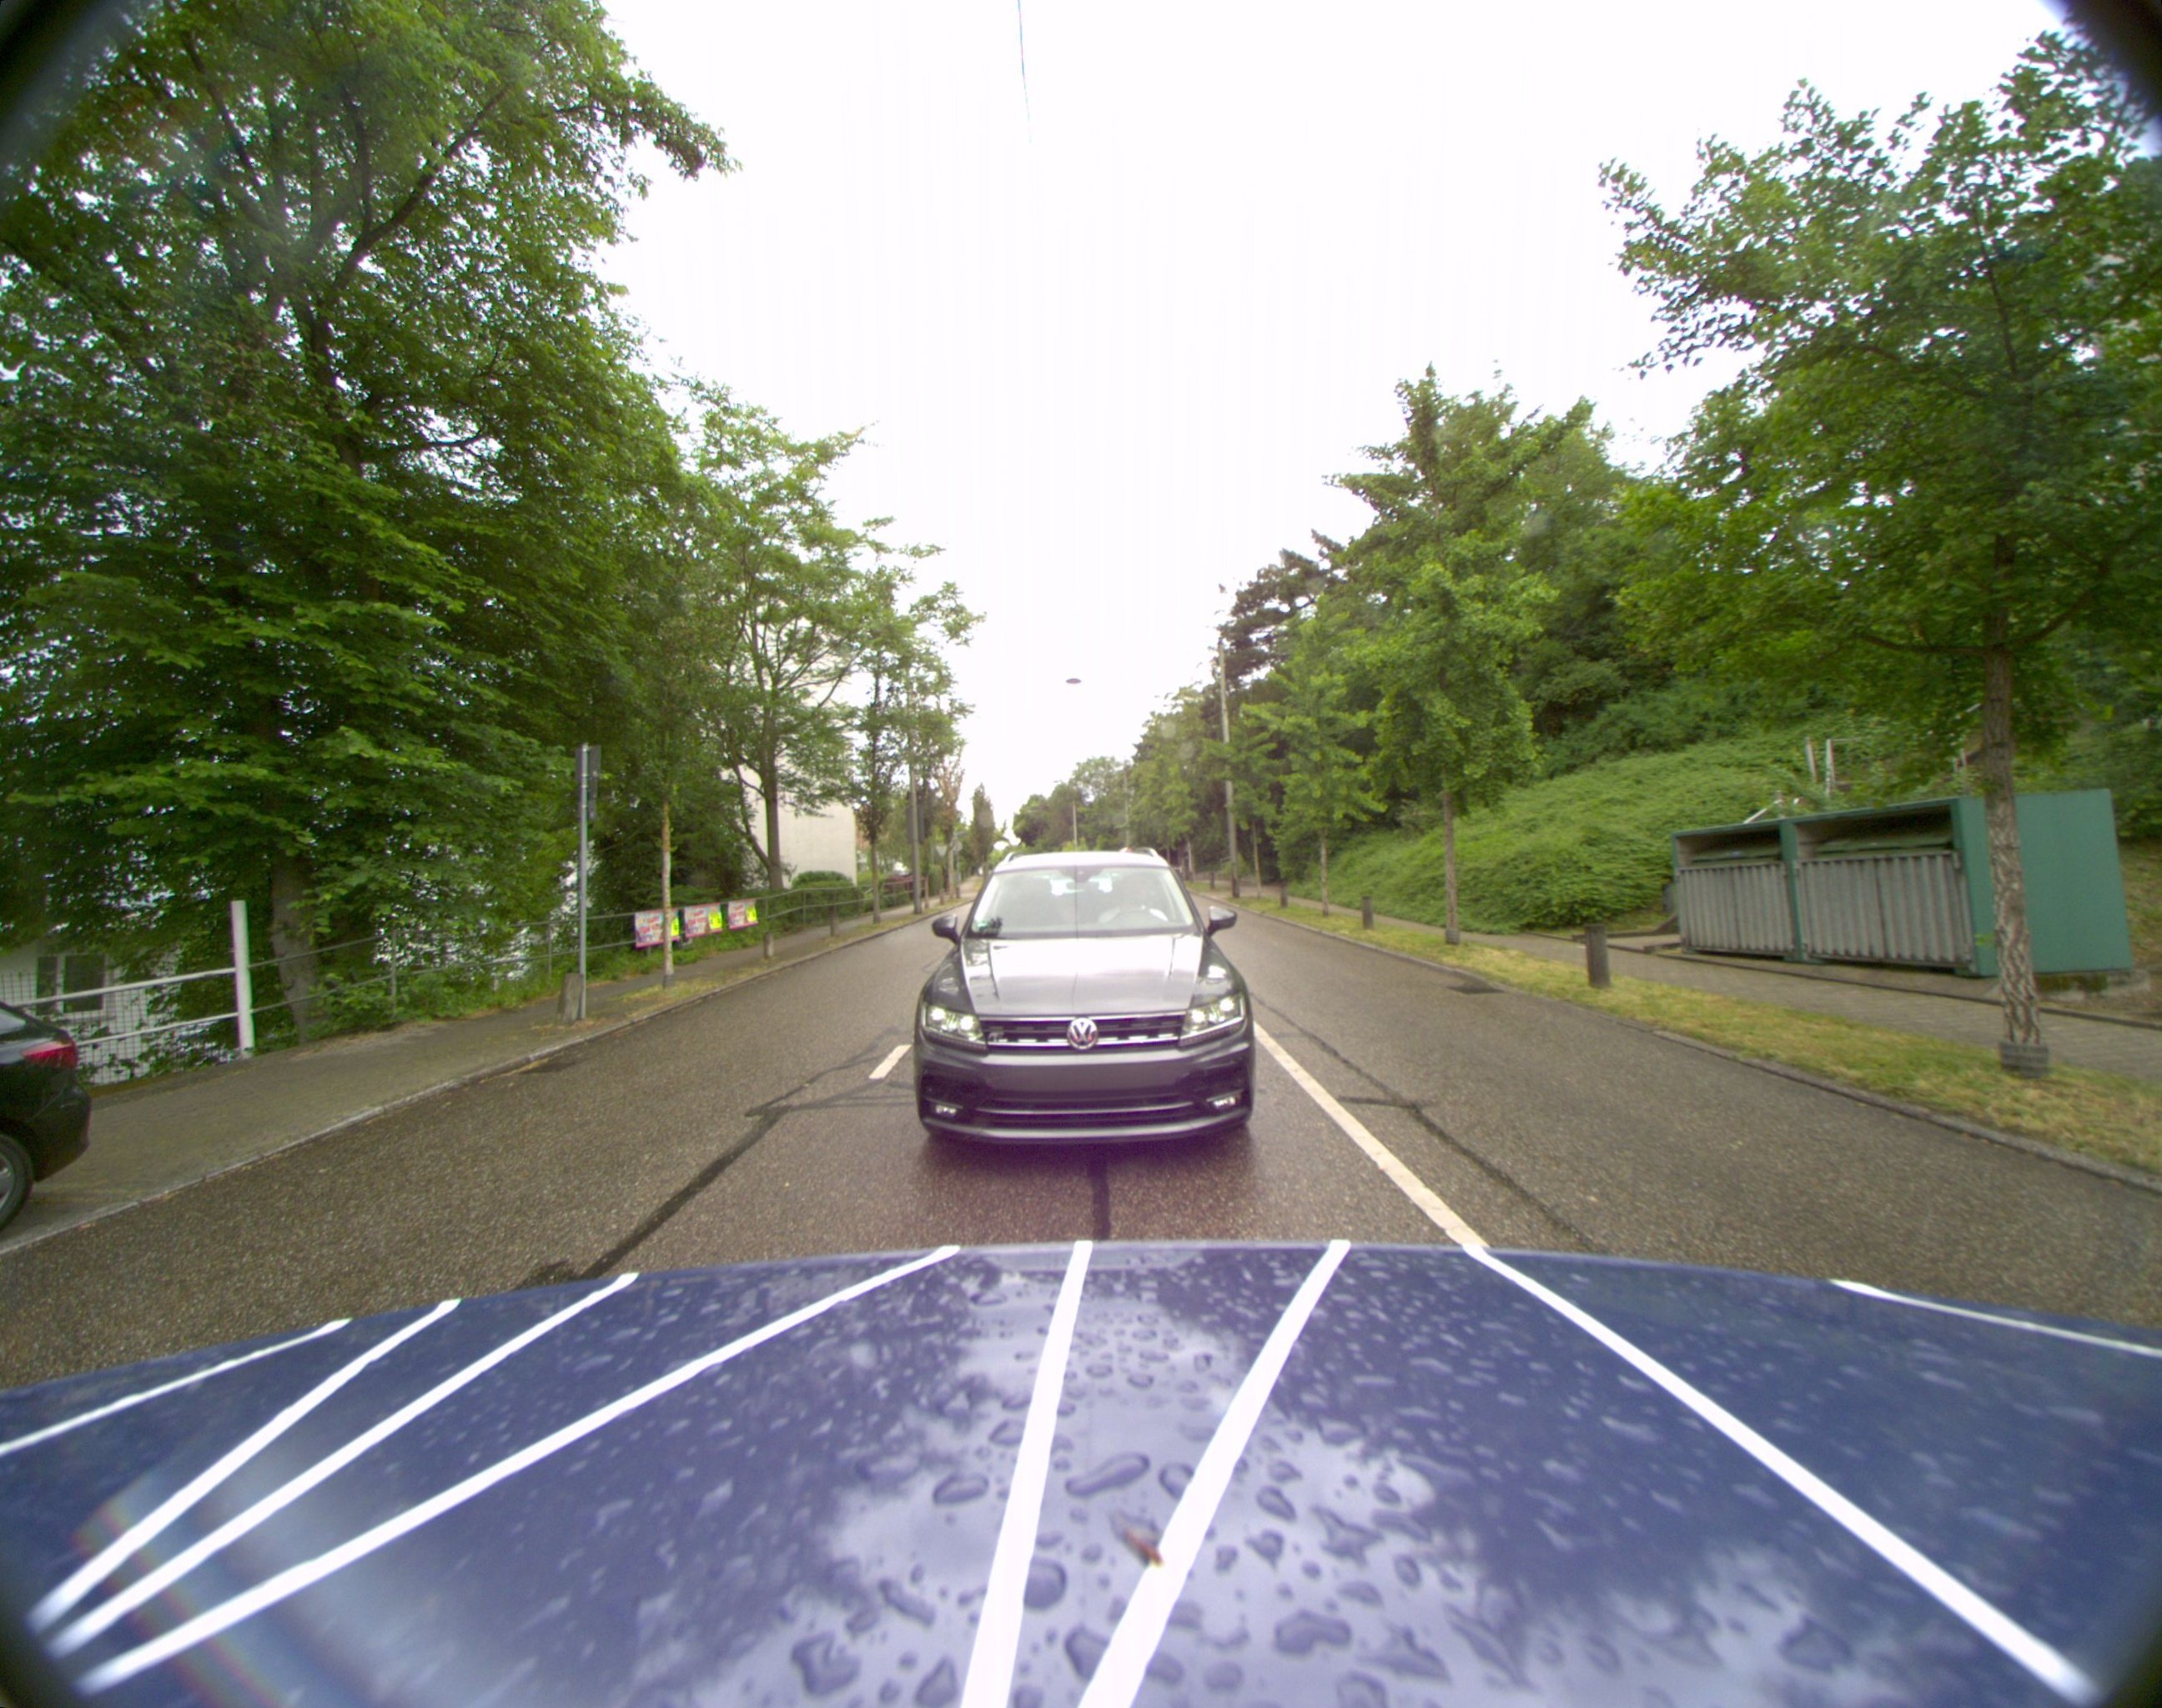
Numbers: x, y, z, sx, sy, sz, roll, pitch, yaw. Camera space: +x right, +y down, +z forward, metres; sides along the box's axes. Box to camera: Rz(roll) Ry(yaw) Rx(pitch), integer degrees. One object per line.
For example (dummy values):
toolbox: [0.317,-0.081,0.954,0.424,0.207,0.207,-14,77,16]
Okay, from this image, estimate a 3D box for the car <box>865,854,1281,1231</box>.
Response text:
car: [-0.006,0.874,5.638,1.834,1.608,4.292,-3,1,1]

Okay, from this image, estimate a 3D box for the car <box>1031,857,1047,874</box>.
car: [-5.496,1.468,98.970,1.835,2.003,4.055,-3,1,-5]

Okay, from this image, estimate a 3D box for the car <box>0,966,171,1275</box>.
car: [-6.335,1.388,2.230,1.999,1.426,4.442,-1,0,-1]

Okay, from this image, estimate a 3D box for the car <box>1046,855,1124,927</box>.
car: [0.130,0.898,20.682,1.834,1.608,4.350,-3,1,1]

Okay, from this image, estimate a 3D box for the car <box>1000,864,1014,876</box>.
car: [-11.429,2.509,117.343,1.892,1.710,4.235,-1,1,-4]
